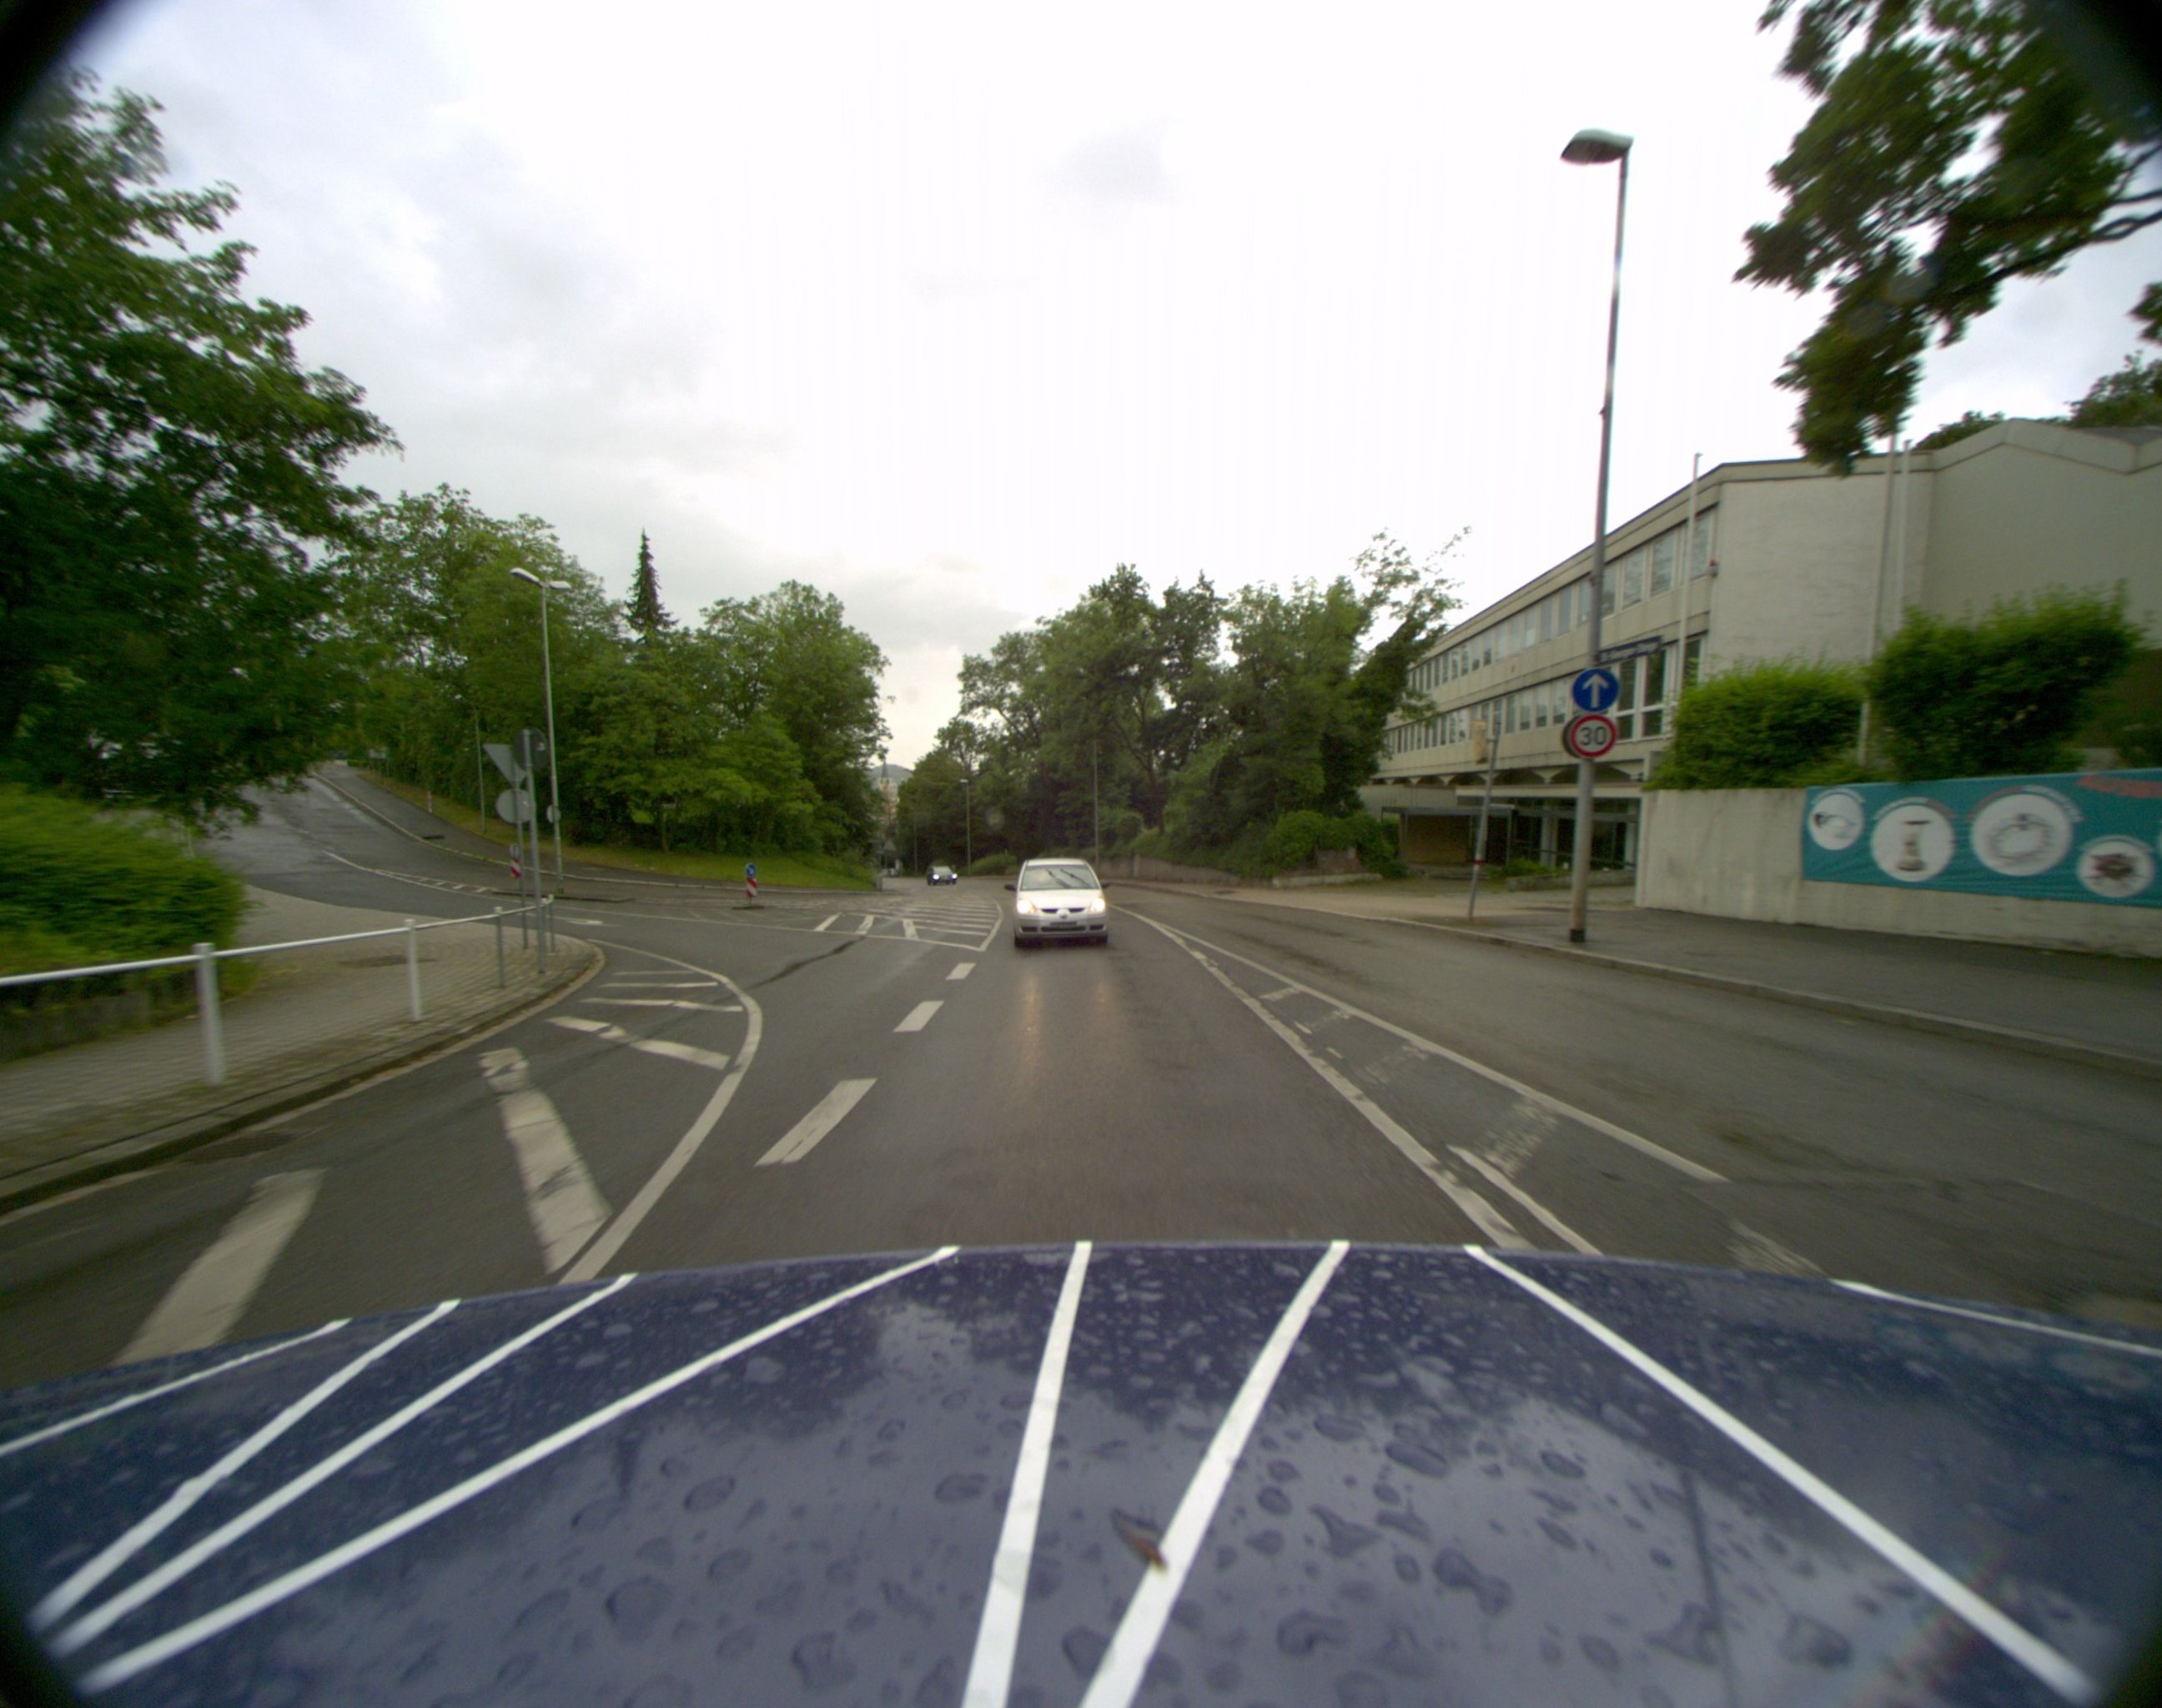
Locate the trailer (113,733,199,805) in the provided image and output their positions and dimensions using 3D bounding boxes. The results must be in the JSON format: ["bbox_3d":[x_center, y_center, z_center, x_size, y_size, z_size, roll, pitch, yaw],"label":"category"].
[{"bbox_3d":[-51.526,-4.822,42.487,2.283,3.285,7.998,0,8,-45],"label":"trailer"}]

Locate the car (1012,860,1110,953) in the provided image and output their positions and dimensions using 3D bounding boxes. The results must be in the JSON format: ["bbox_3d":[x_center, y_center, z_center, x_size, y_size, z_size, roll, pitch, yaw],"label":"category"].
[{"bbox_3d":[-0.436,0.893,14.769,1.640,1.496,3.999,-1,0,-3],"label":"car"}]

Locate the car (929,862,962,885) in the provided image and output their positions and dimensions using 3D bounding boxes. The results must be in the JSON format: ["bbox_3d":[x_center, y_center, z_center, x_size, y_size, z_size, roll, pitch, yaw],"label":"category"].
[{"bbox_3d":[-10.789,1.513,60.180,2.038,1.691,3.994,-2,0,-17],"label":"car"}]

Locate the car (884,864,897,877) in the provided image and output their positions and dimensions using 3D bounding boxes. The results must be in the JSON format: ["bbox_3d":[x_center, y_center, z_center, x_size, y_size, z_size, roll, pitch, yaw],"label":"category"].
[{"bbox_3d":[-35.641,3.099,141.956,2.002,2.242,3.994,-2,0,-19],"label":"car"}]
